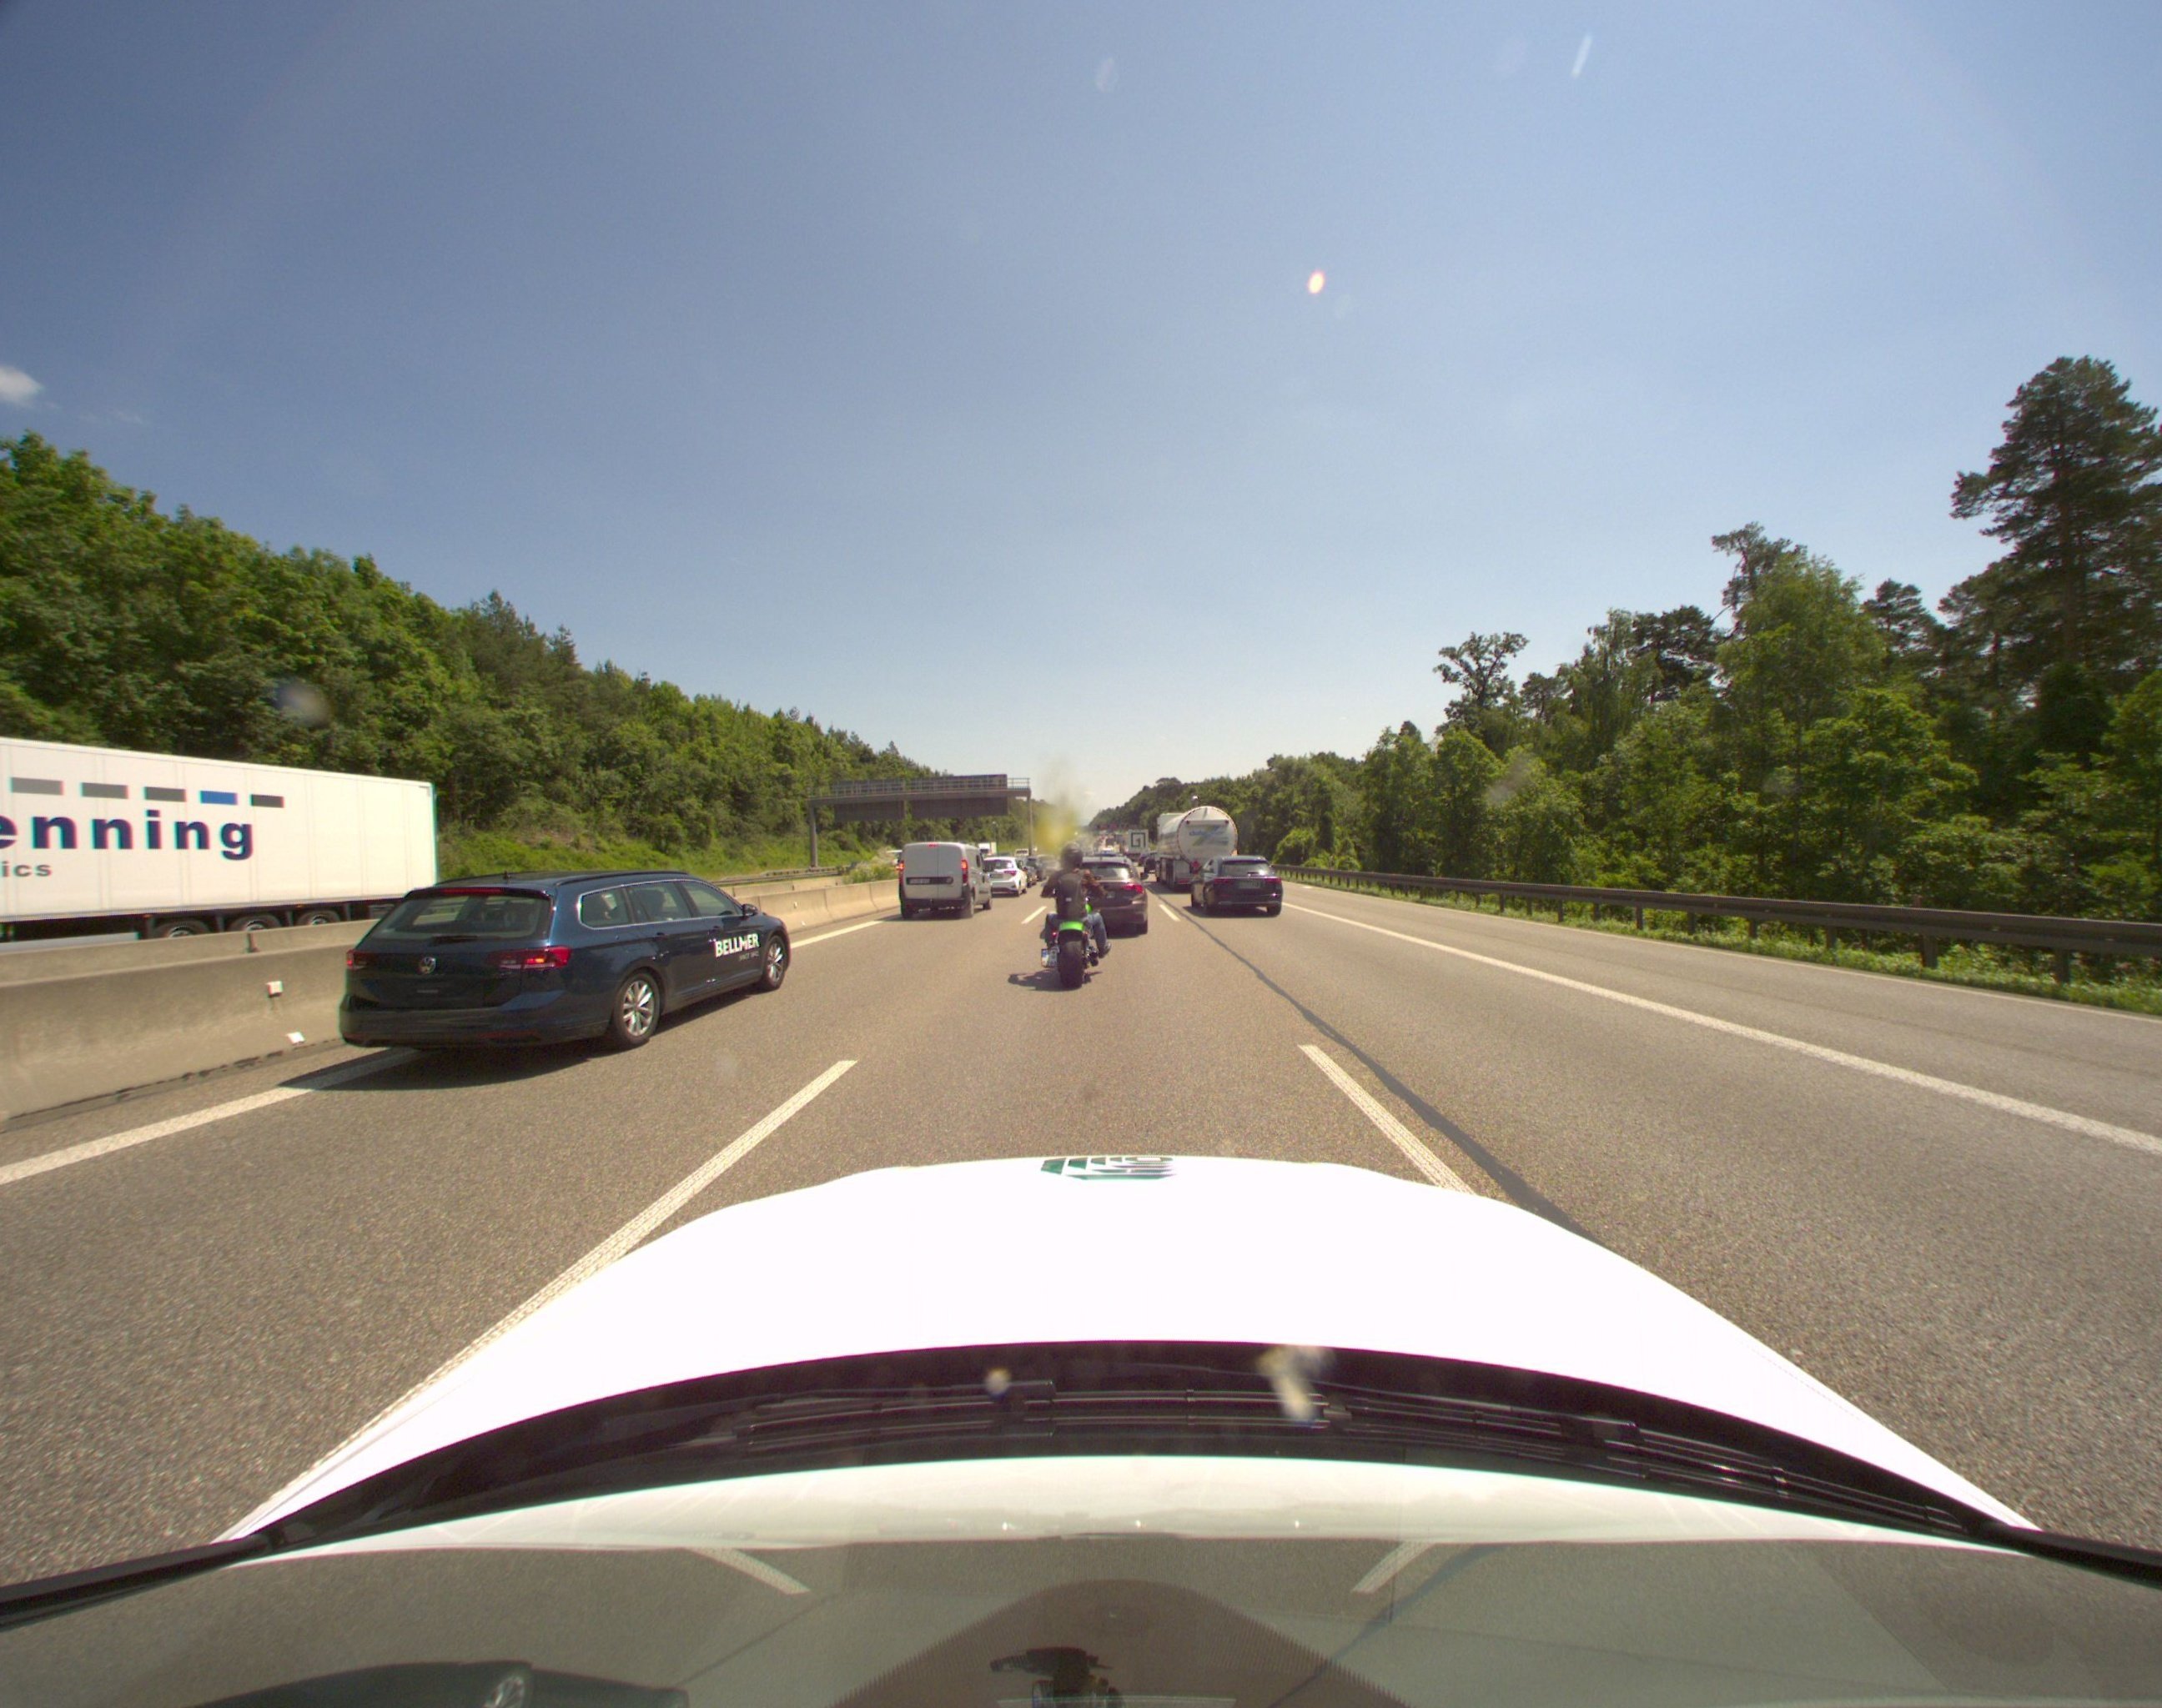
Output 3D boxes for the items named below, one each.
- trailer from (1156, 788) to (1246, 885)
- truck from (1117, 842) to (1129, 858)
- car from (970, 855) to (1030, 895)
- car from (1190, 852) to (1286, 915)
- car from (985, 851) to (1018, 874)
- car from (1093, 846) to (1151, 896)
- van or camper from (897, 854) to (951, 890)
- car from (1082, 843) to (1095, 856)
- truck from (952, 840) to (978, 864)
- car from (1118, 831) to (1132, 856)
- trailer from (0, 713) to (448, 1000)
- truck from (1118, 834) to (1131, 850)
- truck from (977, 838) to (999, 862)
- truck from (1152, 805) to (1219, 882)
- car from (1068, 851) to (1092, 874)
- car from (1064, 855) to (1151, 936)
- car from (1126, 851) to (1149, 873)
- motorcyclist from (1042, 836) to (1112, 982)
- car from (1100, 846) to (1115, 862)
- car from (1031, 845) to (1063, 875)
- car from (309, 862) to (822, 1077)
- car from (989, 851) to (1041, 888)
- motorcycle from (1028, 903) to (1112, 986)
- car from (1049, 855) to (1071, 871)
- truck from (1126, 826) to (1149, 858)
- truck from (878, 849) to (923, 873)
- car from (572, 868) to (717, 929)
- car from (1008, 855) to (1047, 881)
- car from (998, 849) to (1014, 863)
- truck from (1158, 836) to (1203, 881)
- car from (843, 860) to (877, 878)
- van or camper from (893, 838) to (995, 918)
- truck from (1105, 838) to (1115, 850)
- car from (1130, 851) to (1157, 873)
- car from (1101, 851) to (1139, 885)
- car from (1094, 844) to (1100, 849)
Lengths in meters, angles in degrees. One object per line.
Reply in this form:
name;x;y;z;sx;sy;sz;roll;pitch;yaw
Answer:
trailer;5.077;-0.585;36.507;2.817;3.671;10.737;-1;-1;2
truck;5.835;-0.581;112.556;1.584;2.111;3.755;-1;-1;5
car;-3.040;0.798;31.468;1.769;1.411;4.002;-1;-1;2
car;3.998;0.735;21.498;1.785;1.458;4.626;-1;-1;2
car;-5.575;0.562;57.272;1.818;1.494;4.001;-1;0;1
car;1.443;0.624;30.033;1.986;1.711;4.000;-1;-1;1
van or camper;-9.349;1.075;48.860;1.985;2.014;4.932;-1;-1;4
car;1.203;-0.732;133.738;1.986;2.013;4.002;-2;0;2
truck;-14.911;-0.179;104.760;2.170;2.885;6.744;-1;-1;1
car;7.420;-1.723;137.984;2.159;3.893;9.333;-1;-1;2
trailer;-18.249;0.108;15.927;2.938;4.481;10.820;-1;-1;2
truck;9.831;-2.624;184.895;2.686;3.405;10.483;-2;0;2
truck;-16.613;-0.687;145.446;2.682;3.990;7.993;-1;-1;2
truck;5.279;-0.468;42.225;2.817;3.671;6.432;-1;-1;2
car;-0.046;0.747;74.055;1.986;2.014;4.002;-1;-1;2
car;0.549;0.748;16.644;1.535;1.450;4.002;-1;0;2
car;5.417;0.793;78.285;1.987;2.014;4.000;-1;-1;0
motorcyclist;-0.030;0.643;9.961;0.796;1.688;1.017;-1;-1;2
car;3.581;-0.007;111.003;1.986;2.013;4.002;-1;0;2
car;-2.389;0.466;57.792;1.986;2.014;4.001;-1;-1;1
car;-4.280;0.817;7.916;1.867;1.450;4.680;-1;-1;2
car;-3.121;0.749;39.375;1.986;1.684;4.332;-1;-1;2
motorcycle;-0.079;1.089;10.274;0.932;0.793;2.300;-1;0;2
car;-2.011;0.900;78.515;1.757;1.442;4.002;-1;-1;2
truck;7.322;-1.479;105.209;2.840;3.821;7.196;-1;-1;5
truck;-15.860;0.663;71.970;2.343;2.014;6.493;-1;-1;1
car;-13.718;1.336;25.967;1.985;1.763;4.456;-1;-1;4
car;-3.076;0.819;47.378;1.987;1.464;3.999;-1;-1;0
car;-10.820;0.288;117.284;1.777;1.838;4.295;-1;-1;2
truck;7.156;0.302;59.558;2.380;2.979;8.254;-1;0;1
car;-19.296;1.325;71.266;1.924;1.485;3.543;-1;-1;0
van or camper;-3.484;0.562;21.574;1.846;1.880;4.562;0;0;1
truck;8.336;-2.825;234.258;2.686;3.405;10.483;-2;0;2
car;4.537;0.602;59.449;1.769;1.527;4.002;-1;-1;2
car;2.124;0.759;45.269;1.986;1.775;4.000;-1;-1;1
car;5.207;-2.306;261.552;1.763;1.556;4.002;-2;0;2
